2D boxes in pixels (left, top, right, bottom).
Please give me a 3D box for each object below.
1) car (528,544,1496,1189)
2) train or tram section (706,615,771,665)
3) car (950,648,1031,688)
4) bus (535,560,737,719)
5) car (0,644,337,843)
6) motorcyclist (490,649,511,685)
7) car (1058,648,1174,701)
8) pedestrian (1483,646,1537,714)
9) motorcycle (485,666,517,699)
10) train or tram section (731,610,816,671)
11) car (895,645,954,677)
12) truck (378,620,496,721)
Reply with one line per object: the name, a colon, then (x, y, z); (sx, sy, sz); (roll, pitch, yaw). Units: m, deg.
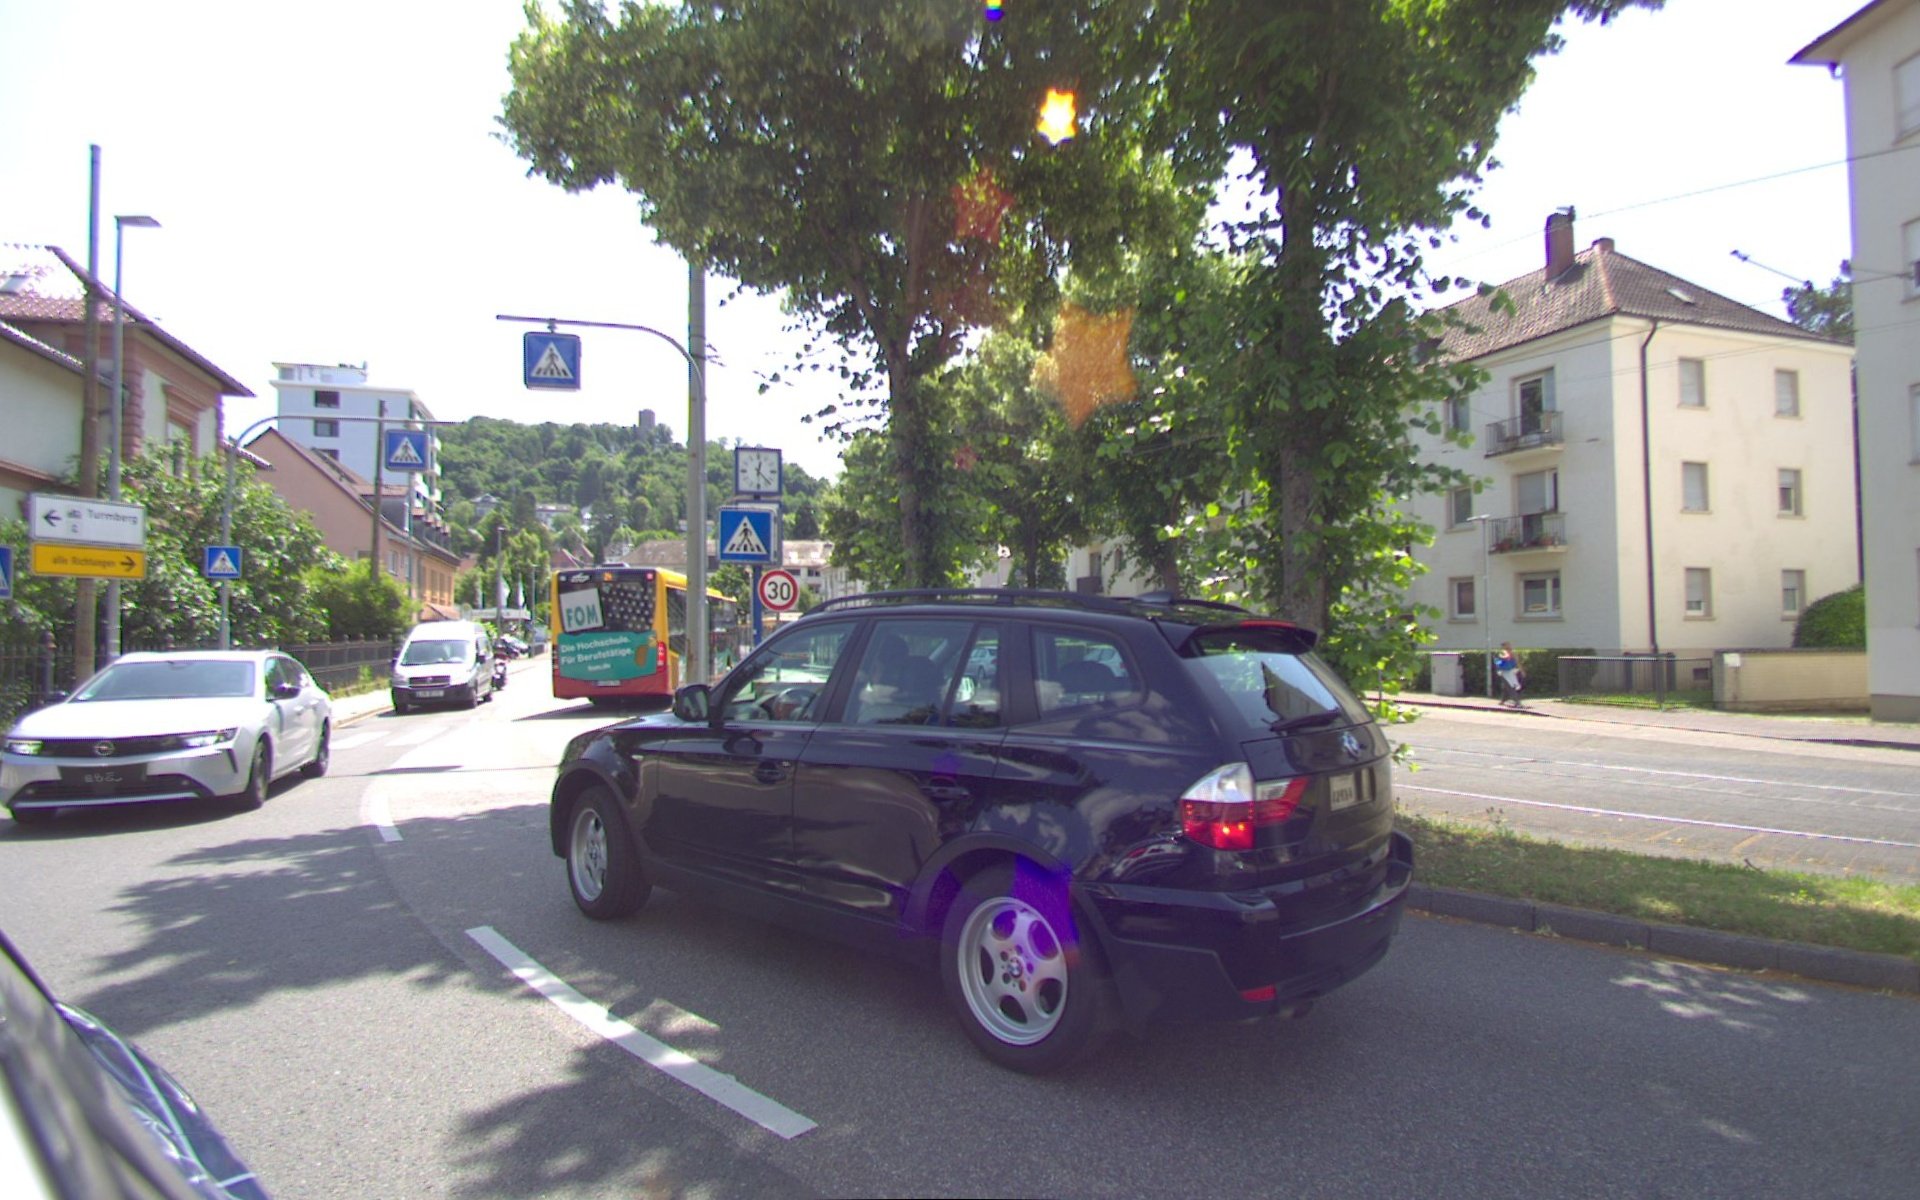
car: (-0.105, 0.752, 4.744); (4.327, 1.644, 1.836); (-1, -3, 42)
train or tram section: (-17.545, 3.073, 79.370); (2.849, 3.547, 13.947); (0, -2, -21)
car: (1.201, 2.751, 41.724); (1.813, 1.494, 4.271); (0, -2, -21)
bus: (-8.062, 1.084, 26.904); (2.667, 3.322, 10.868); (-1, -3, -4)
car: (-7.550, 1.207, 9.927); (1.771, 1.477, 4.184); (-1, -3, -22)
motorcyclist: (-16.014, 2.324, 35.259); (0.532, 1.252, 0.556); (0, -2, -9)
car: (4.768, 2.263, 31.436); (1.813, 1.494, 3.968); (0, -2, -21)
pedestrian: (13.046, 1.880, 24.019); (0.764, 1.572, 0.746); (0, -2, -21)
motorcycle: (-15.989, 2.868, 35.260); (0.659, 1.066, 1.438); (0, -2, -9)
train or tram section: (-12.490, 2.626, 66.342); (2.849, 3.547, 13.947); (0, -2, -21)
car: (-1.822, 3.022, 50.713); (1.813, 1.494, 3.885); (0, -2, -21)
truck: (-13.413, 1.768, 26.265); (1.986, 2.266, 5.424); (-2, -2, -20)
